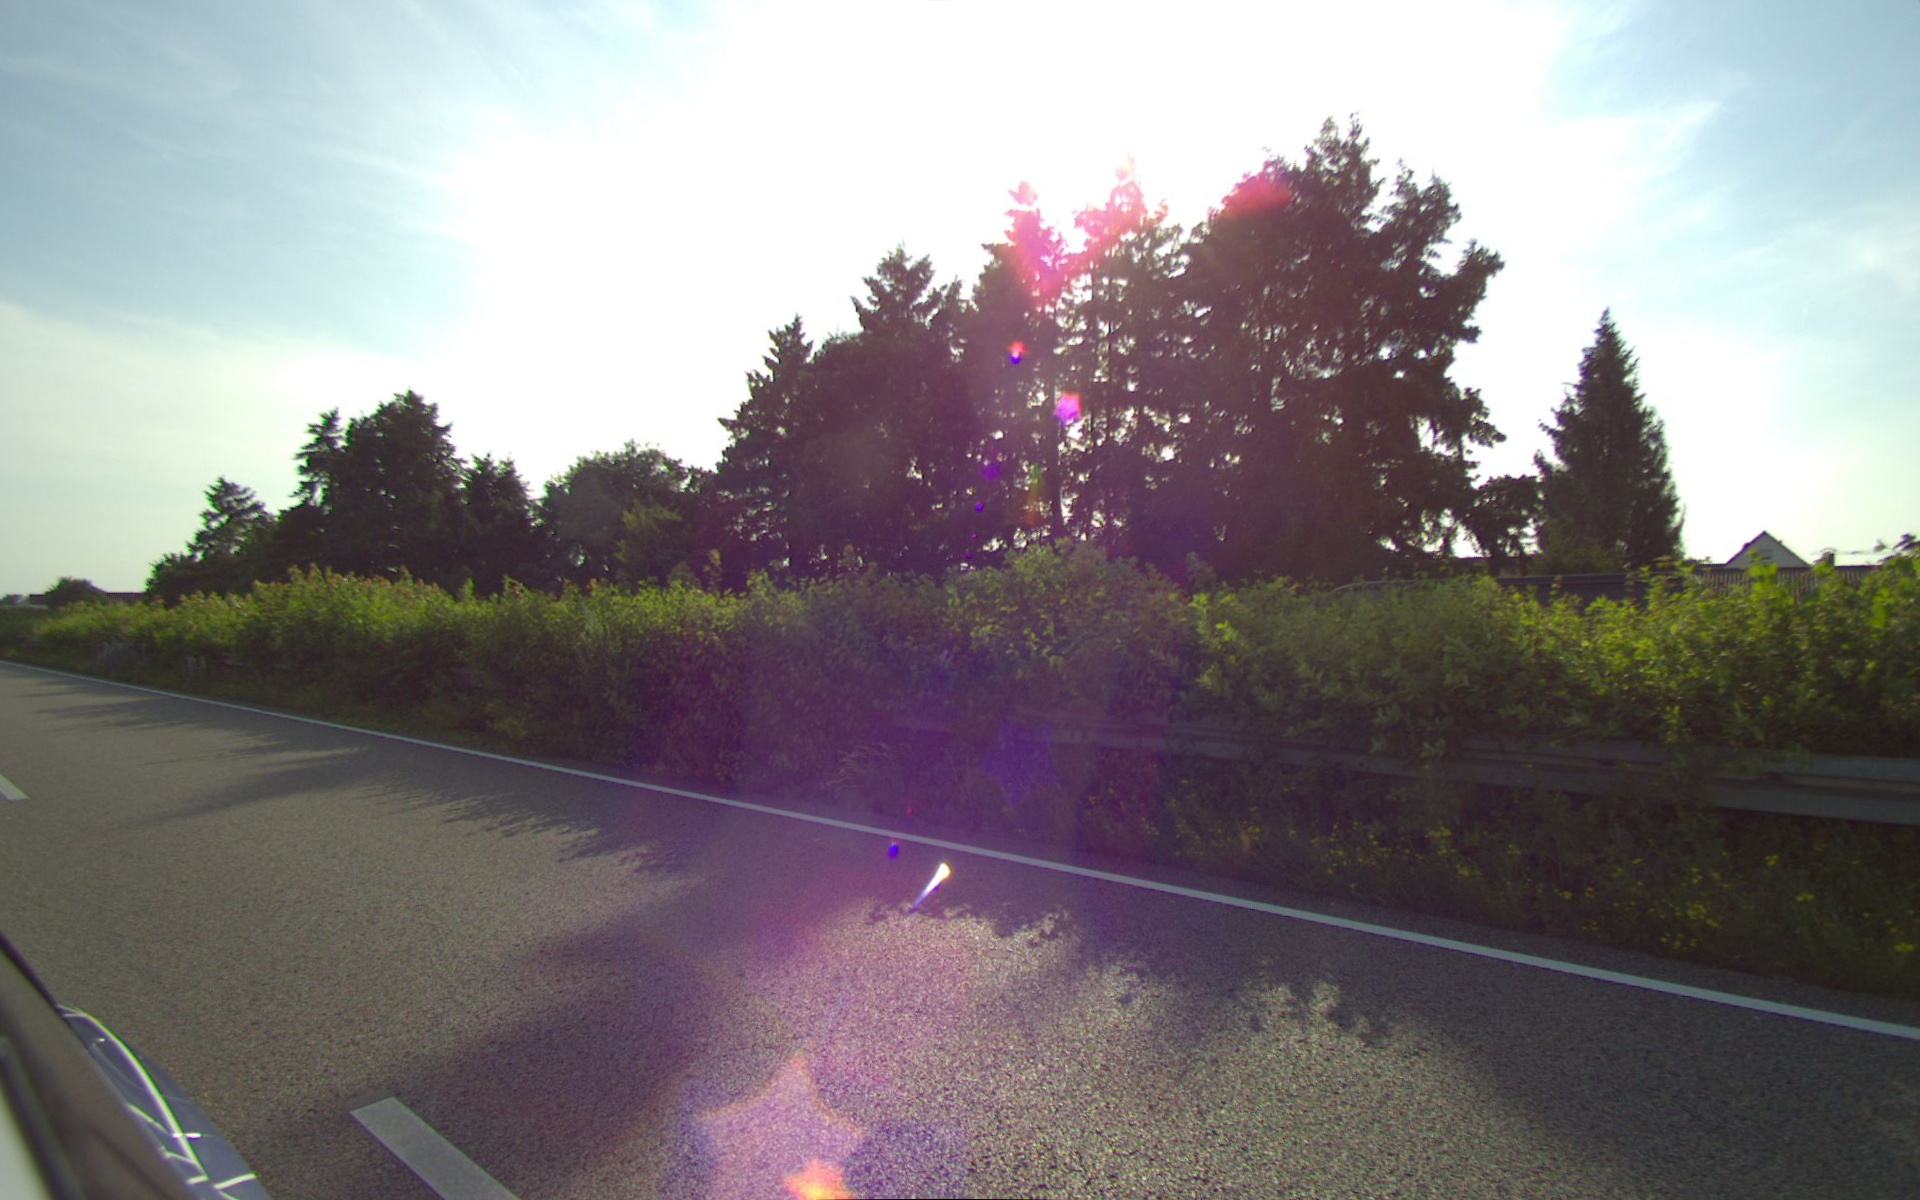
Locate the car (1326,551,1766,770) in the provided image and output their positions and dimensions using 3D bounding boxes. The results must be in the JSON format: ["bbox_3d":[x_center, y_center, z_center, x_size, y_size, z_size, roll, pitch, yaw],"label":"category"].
[{"bbox_3d":[6.500,0.593,11.435,3.998,2.029,1.973,-1,-1,41],"label":"car"}]
